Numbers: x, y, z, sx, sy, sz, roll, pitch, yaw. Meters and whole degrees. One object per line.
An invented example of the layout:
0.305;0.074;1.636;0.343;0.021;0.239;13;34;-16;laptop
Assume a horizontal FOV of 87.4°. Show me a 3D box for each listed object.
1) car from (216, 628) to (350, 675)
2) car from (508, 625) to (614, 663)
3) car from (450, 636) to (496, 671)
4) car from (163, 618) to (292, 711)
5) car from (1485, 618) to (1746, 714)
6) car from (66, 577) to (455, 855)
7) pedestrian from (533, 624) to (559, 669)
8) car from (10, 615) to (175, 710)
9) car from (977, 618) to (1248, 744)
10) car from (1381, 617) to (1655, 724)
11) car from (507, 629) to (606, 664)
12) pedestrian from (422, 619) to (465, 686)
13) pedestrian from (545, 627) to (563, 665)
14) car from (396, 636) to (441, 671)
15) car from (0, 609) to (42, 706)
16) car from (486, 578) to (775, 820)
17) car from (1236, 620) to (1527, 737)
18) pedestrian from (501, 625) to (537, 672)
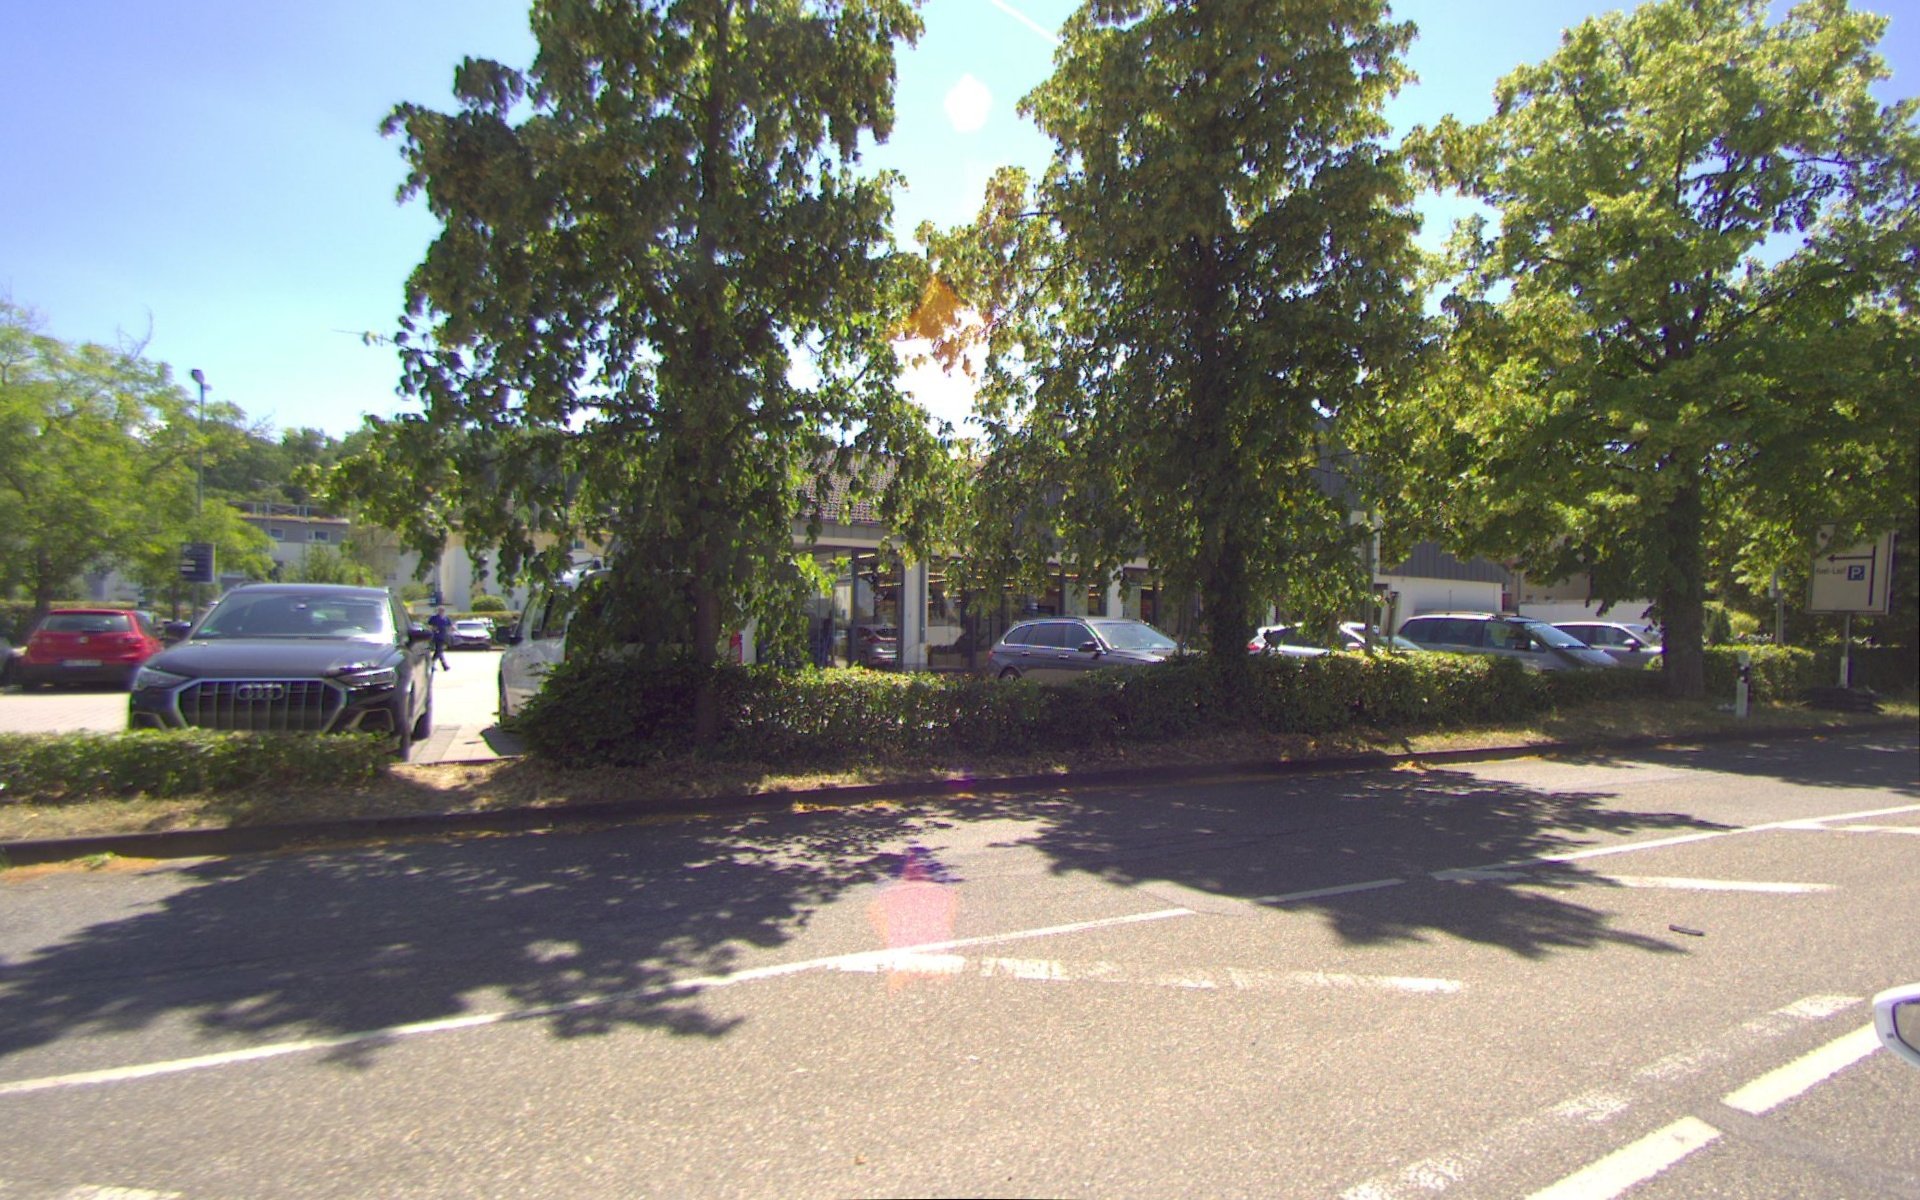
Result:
-25.008;1.911;37.274;3.955;1.622;1.784;2;-1;-31;car
-17.487;1.941;44.056;4.089;1.552;1.810;2;-1;-31;car
-25.979;2.834;53.522;1.779;1.622;3.966;2;-1;-31;car
-14.139;1.178;19.597;1.809;1.550;4.285;2;-2;-34;car
14.309;1.358;22.187;2.049;1.800;4.377;2;-1;-31;car
-5.933;0.840;9.197;2.075;1.869;4.373;2;-1;-24;car
-14.345;1.613;34.803;0.670;1.534;0.628;2;-1;-36;pedestrian
-16.321;1.112;19.119;1.809;1.550;4.285;2;-2;-34;car
2.143;1.098;15.176;1.912;1.545;4.007;2;-1;-31;car
11.024;1.308;20.164;2.049;1.800;4.377;2;-1;-31;car
-19.110;2.228;47.621;4.089;1.552;1.810;2;-1;-31;car
-14.577;1.473;28.346;0.739;1.830;0.771;1;-1;30;pedestrian
-17.010;1.925;42.111;0.624;1.601;0.673;2;-1;-20;pedestrian
-27.981;2.746;51.834;1.779;1.622;3.966;2;-1;-31;car
-18.492;1.003;18.183;2.093;1.677;4.285;2;-2;-34;car
-3.696;0.868;10.691;1.884;2.006;4.332;2;-1;-32;car
7.087;1.233;17.367;1.874;1.641;4.377;2;-1;-31;car
-14.605;1.607;33.294;0.787;1.534;0.795;1;-1;41;pedestrian
